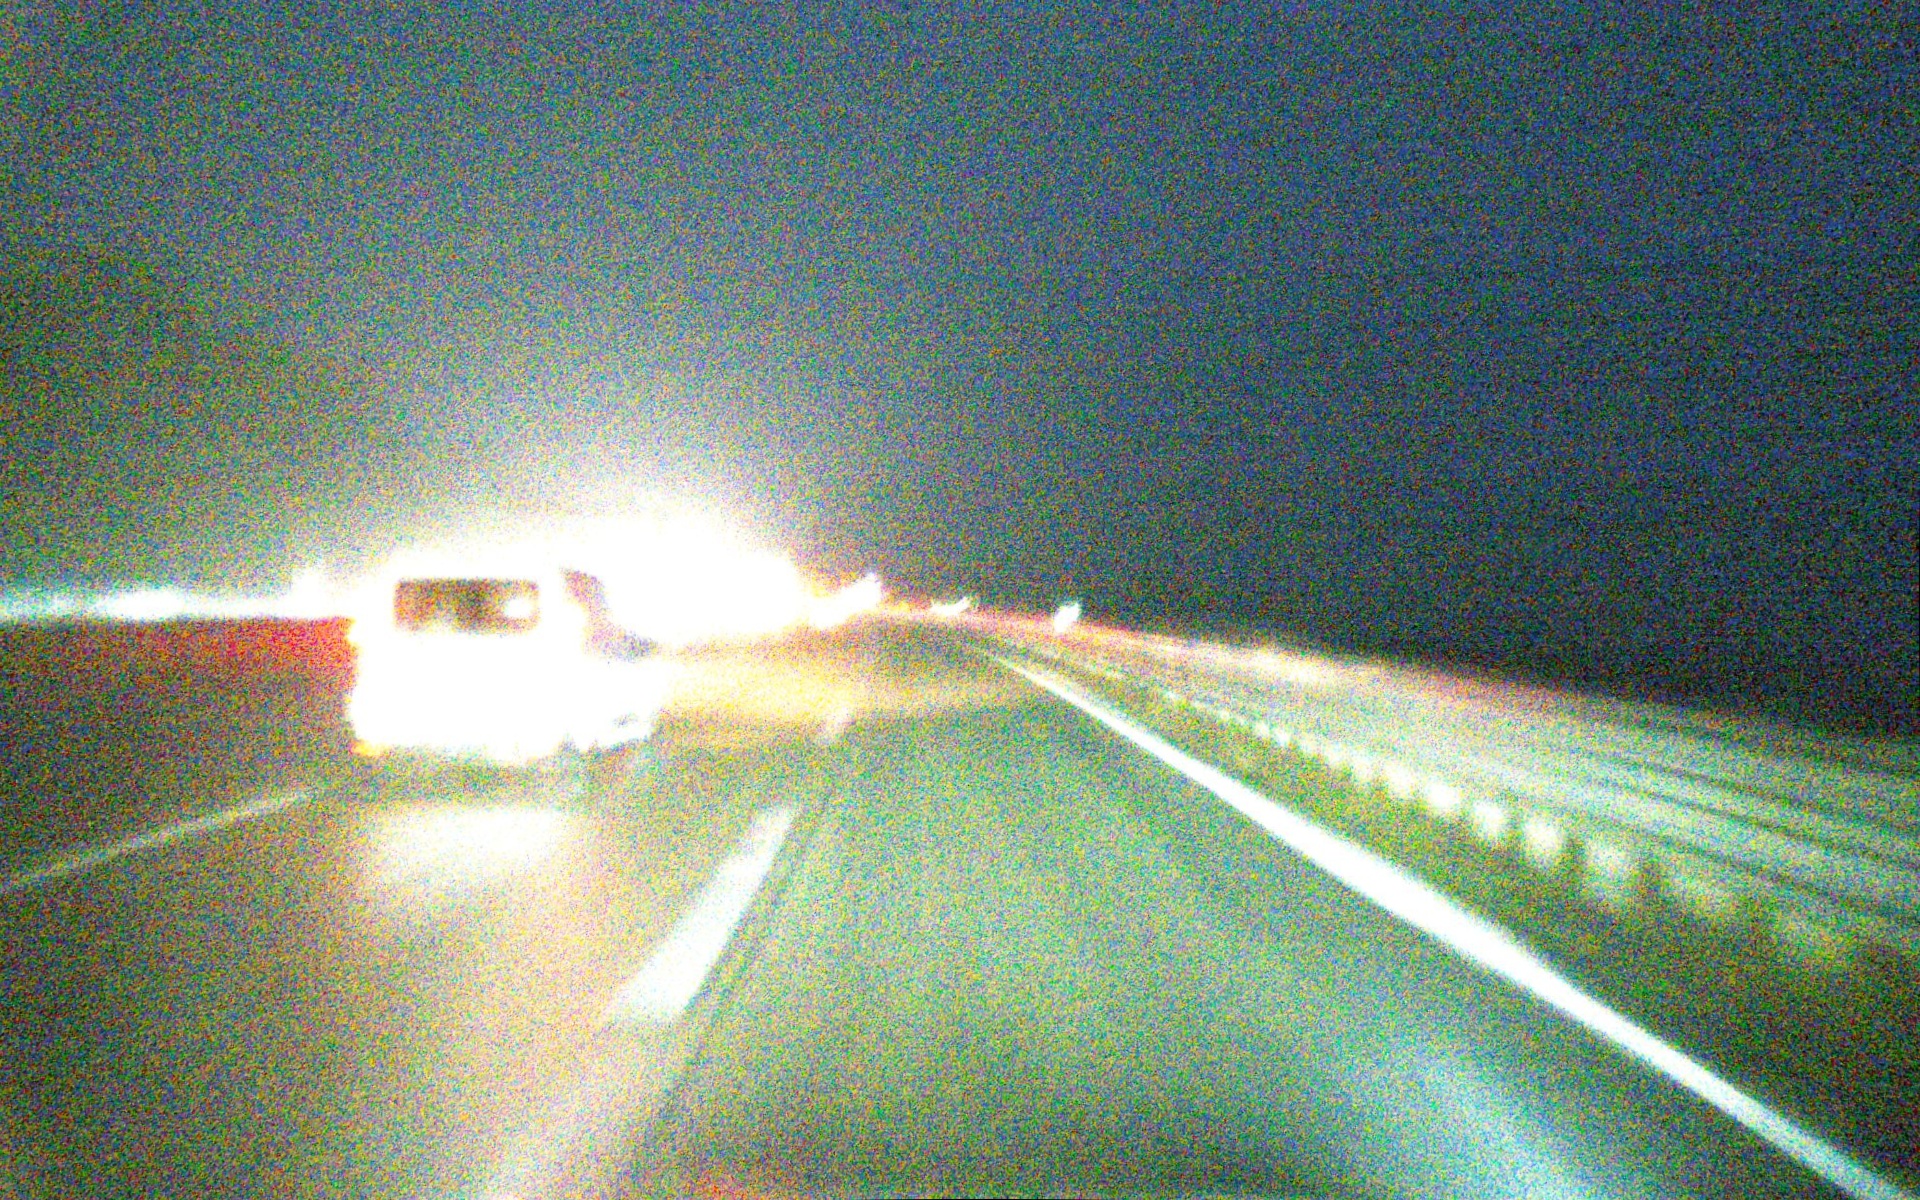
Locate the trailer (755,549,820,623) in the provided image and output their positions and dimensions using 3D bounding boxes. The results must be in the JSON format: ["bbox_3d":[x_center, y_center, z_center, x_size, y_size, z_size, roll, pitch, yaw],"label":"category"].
[{"bbox_3d":[-9.710,-0.711,94.569,2.540,3.790,13.646,4,0,-2],"label":"trailer"}]

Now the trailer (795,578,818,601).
[{"bbox_3d":[-20.045,-1.393,216.443,2.635,2.746,12.846,4,0,-4],"label":"trailer"}]

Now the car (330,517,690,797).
[{"bbox_3d":[-3.748,0.432,14.784,1.953,2.049,5.015,1,0,-2],"label":"car"}]

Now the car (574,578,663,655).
[{"bbox_3d":[-10.059,0.459,49.021,1.955,2.048,4.562,4,0,-6],"label":"car"}]

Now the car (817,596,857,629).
[{"bbox_3d":[-7.566,0.776,101.936,1.952,1.850,4.001,4,0,2],"label":"car"}]
